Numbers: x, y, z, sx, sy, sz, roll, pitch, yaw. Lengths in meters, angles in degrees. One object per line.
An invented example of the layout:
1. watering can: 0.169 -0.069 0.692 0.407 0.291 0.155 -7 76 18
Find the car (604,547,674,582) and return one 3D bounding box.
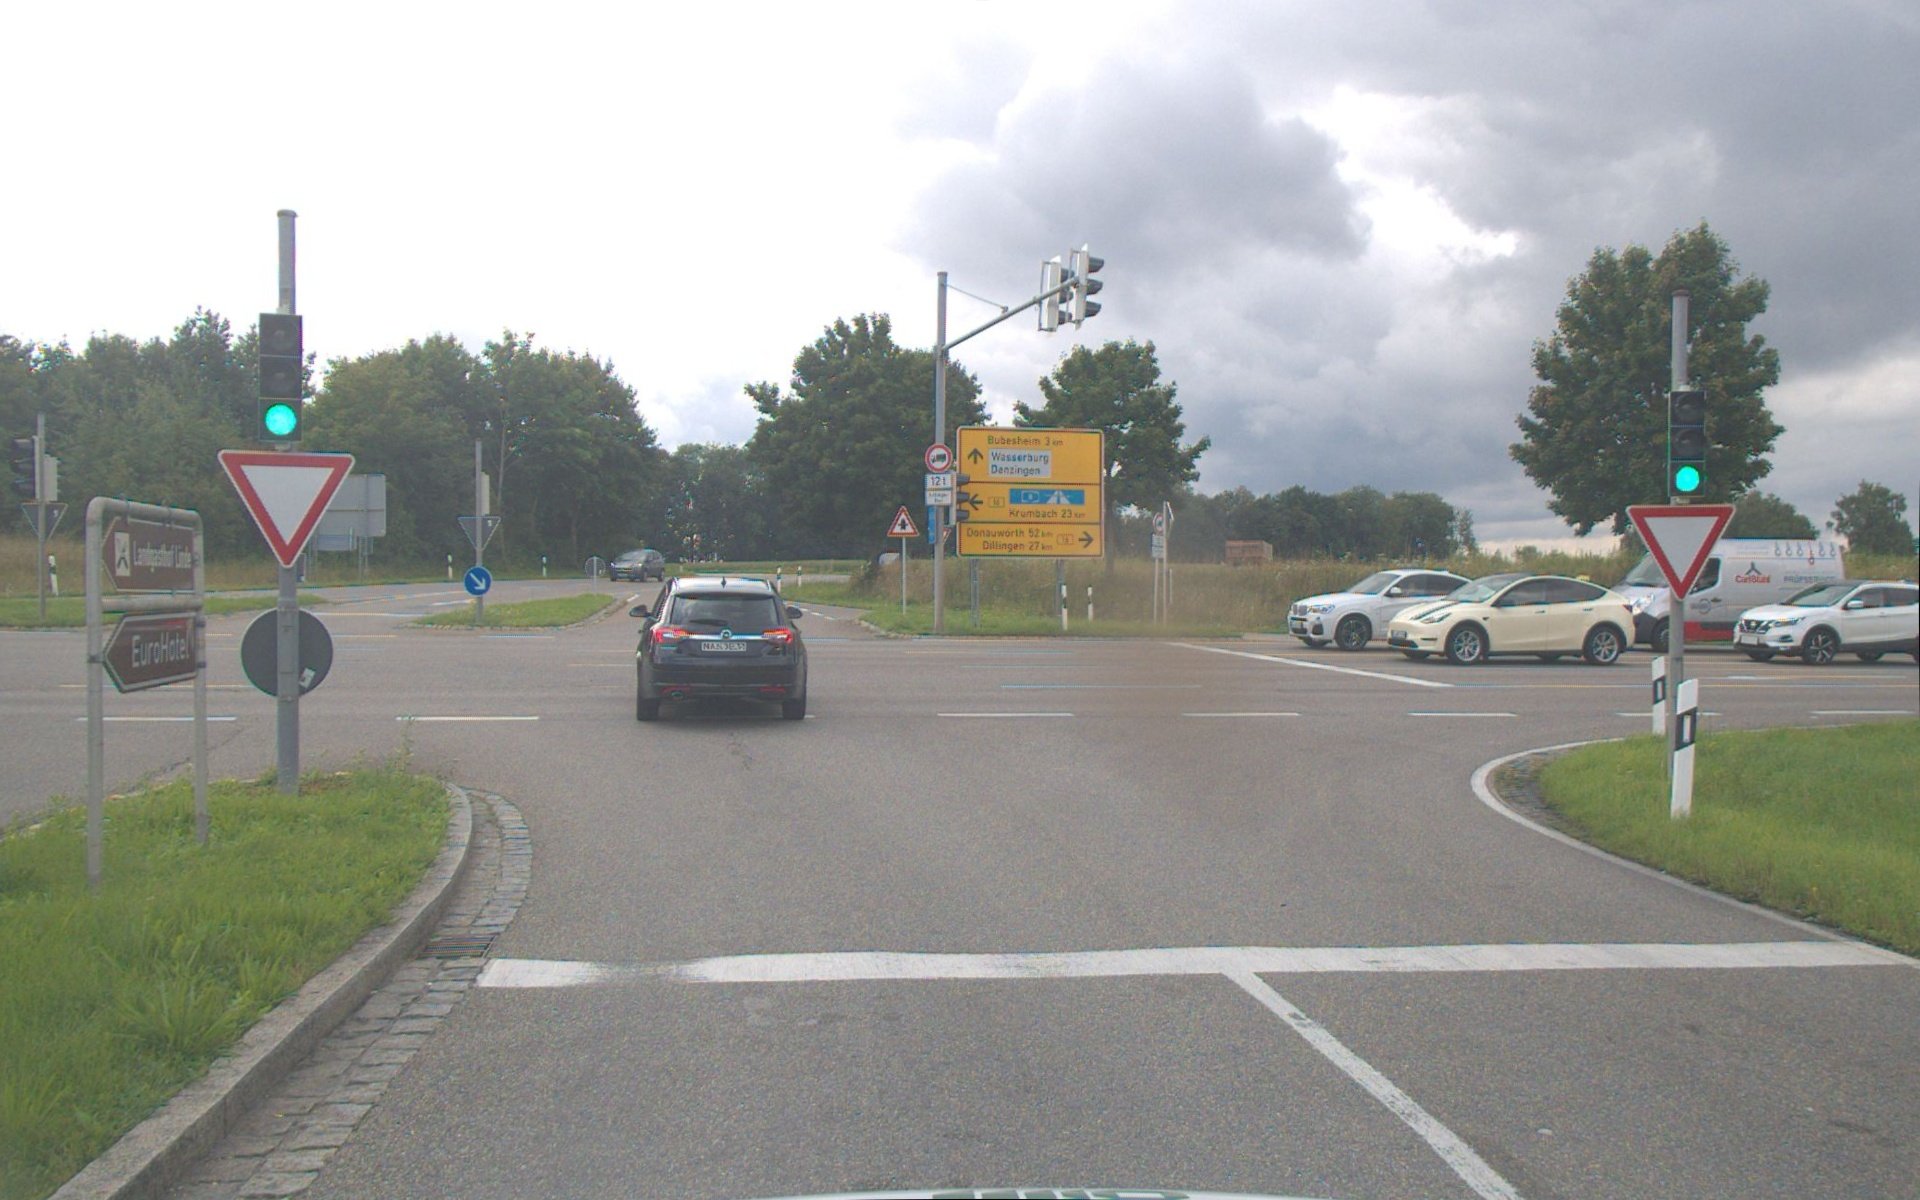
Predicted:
1. car: -15.105 -1.667 78.045 1.951 1.562 4.004 1 0 9

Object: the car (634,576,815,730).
1. car: -2.687 0.499 18.587 1.774 1.476 4.264 1 1 -10

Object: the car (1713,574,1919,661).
1. car: 17.416 0.347 32.796 4.235 1.658 1.993 1 0 -14

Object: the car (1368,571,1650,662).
1. car: 10.174 0.312 30.741 4.653 1.592 1.993 1 0 -15

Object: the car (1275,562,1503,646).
1. car: 8.902 0.097 34.448 4.189 1.657 1.992 1 0 -15

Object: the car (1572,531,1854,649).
1. car: 16.719 -0.189 36.825 5.400 2.484 2.390 1 0 -14
